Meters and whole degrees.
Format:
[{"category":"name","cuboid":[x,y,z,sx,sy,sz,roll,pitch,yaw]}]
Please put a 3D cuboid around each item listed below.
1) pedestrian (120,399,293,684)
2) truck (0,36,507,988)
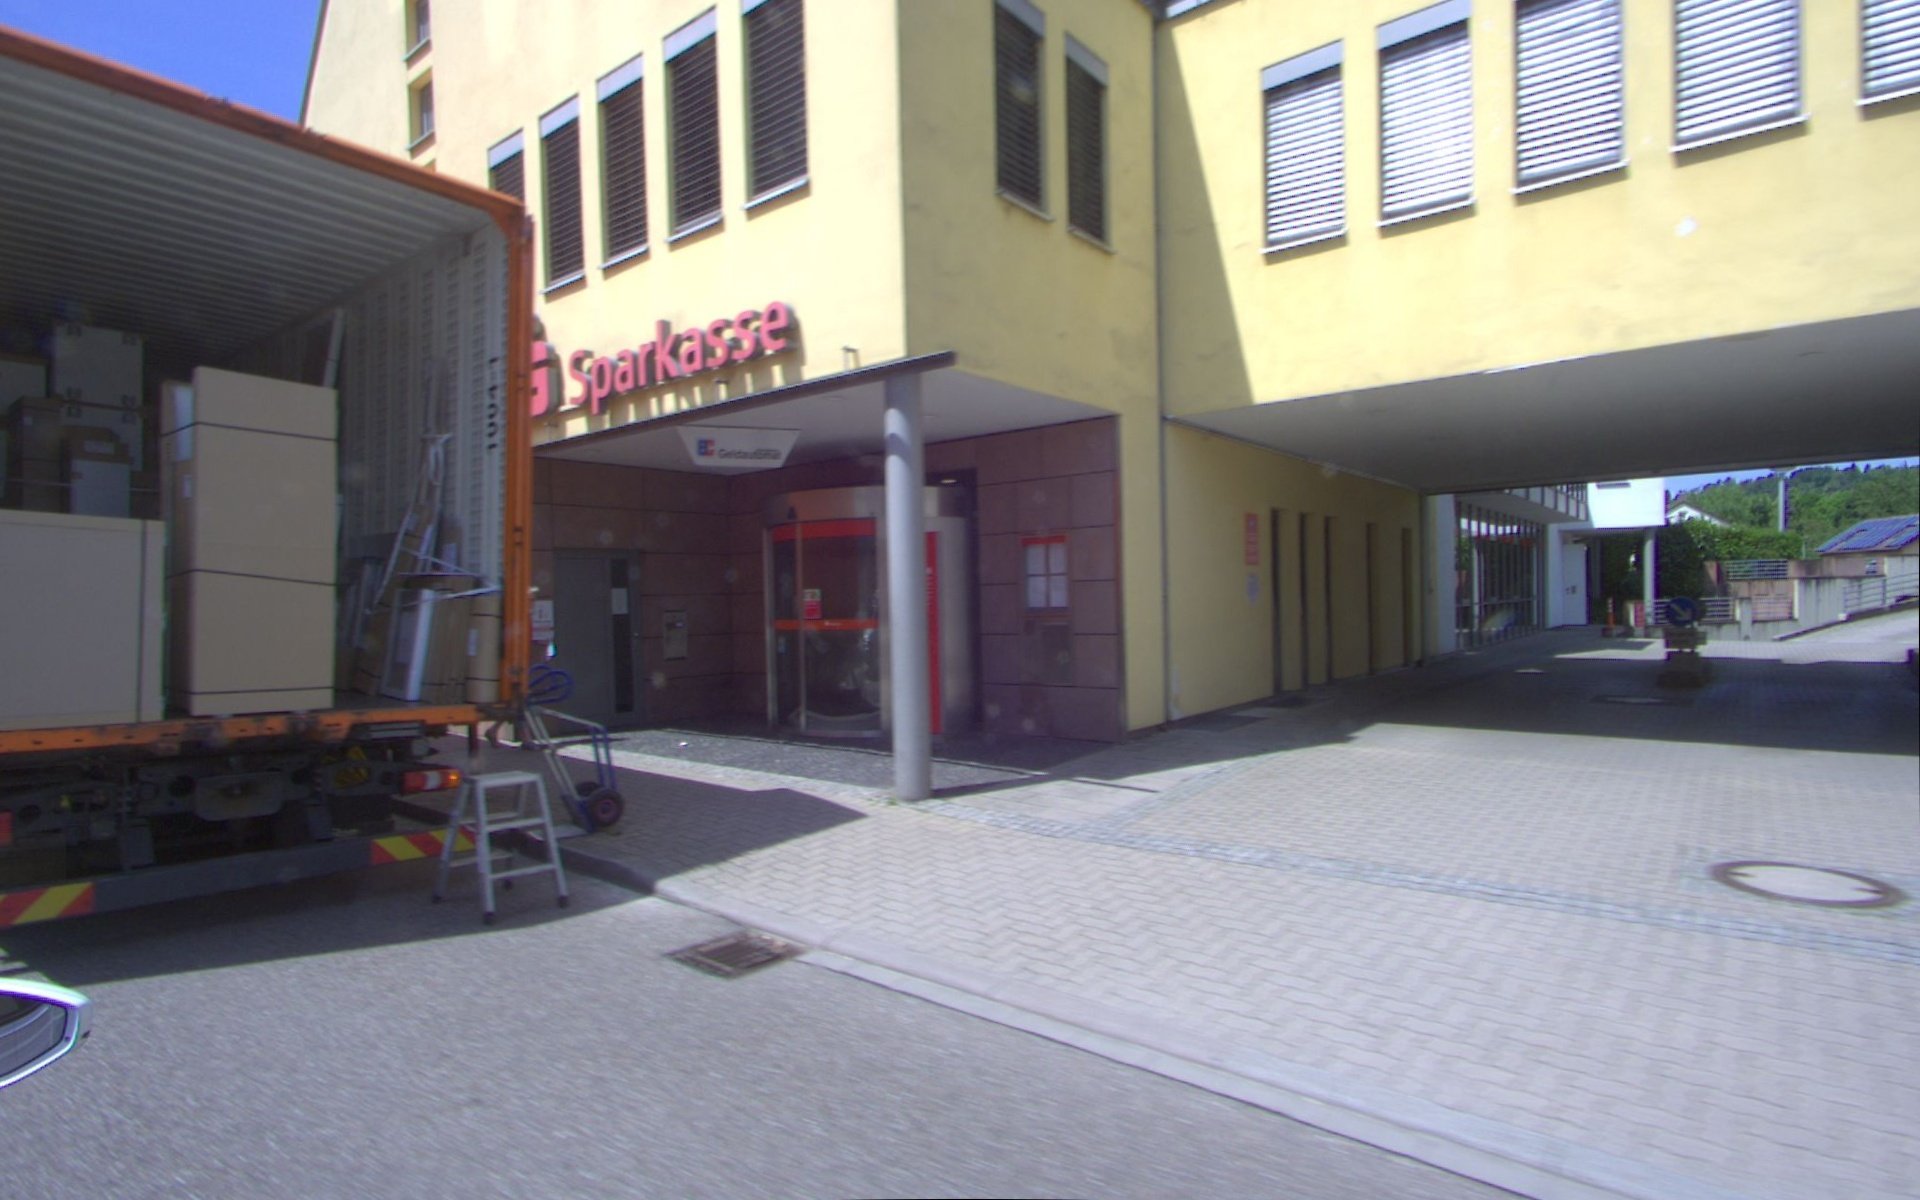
[{"category":"pedestrian","cuboid":[-5.140,-0.345,6.833,0.916,1.779,0.746,-1,-2,40]},{"category":"truck","cuboid":[-7.187,-0.369,8.115,9.877,3.997,2.596,1,-1,42]}]
